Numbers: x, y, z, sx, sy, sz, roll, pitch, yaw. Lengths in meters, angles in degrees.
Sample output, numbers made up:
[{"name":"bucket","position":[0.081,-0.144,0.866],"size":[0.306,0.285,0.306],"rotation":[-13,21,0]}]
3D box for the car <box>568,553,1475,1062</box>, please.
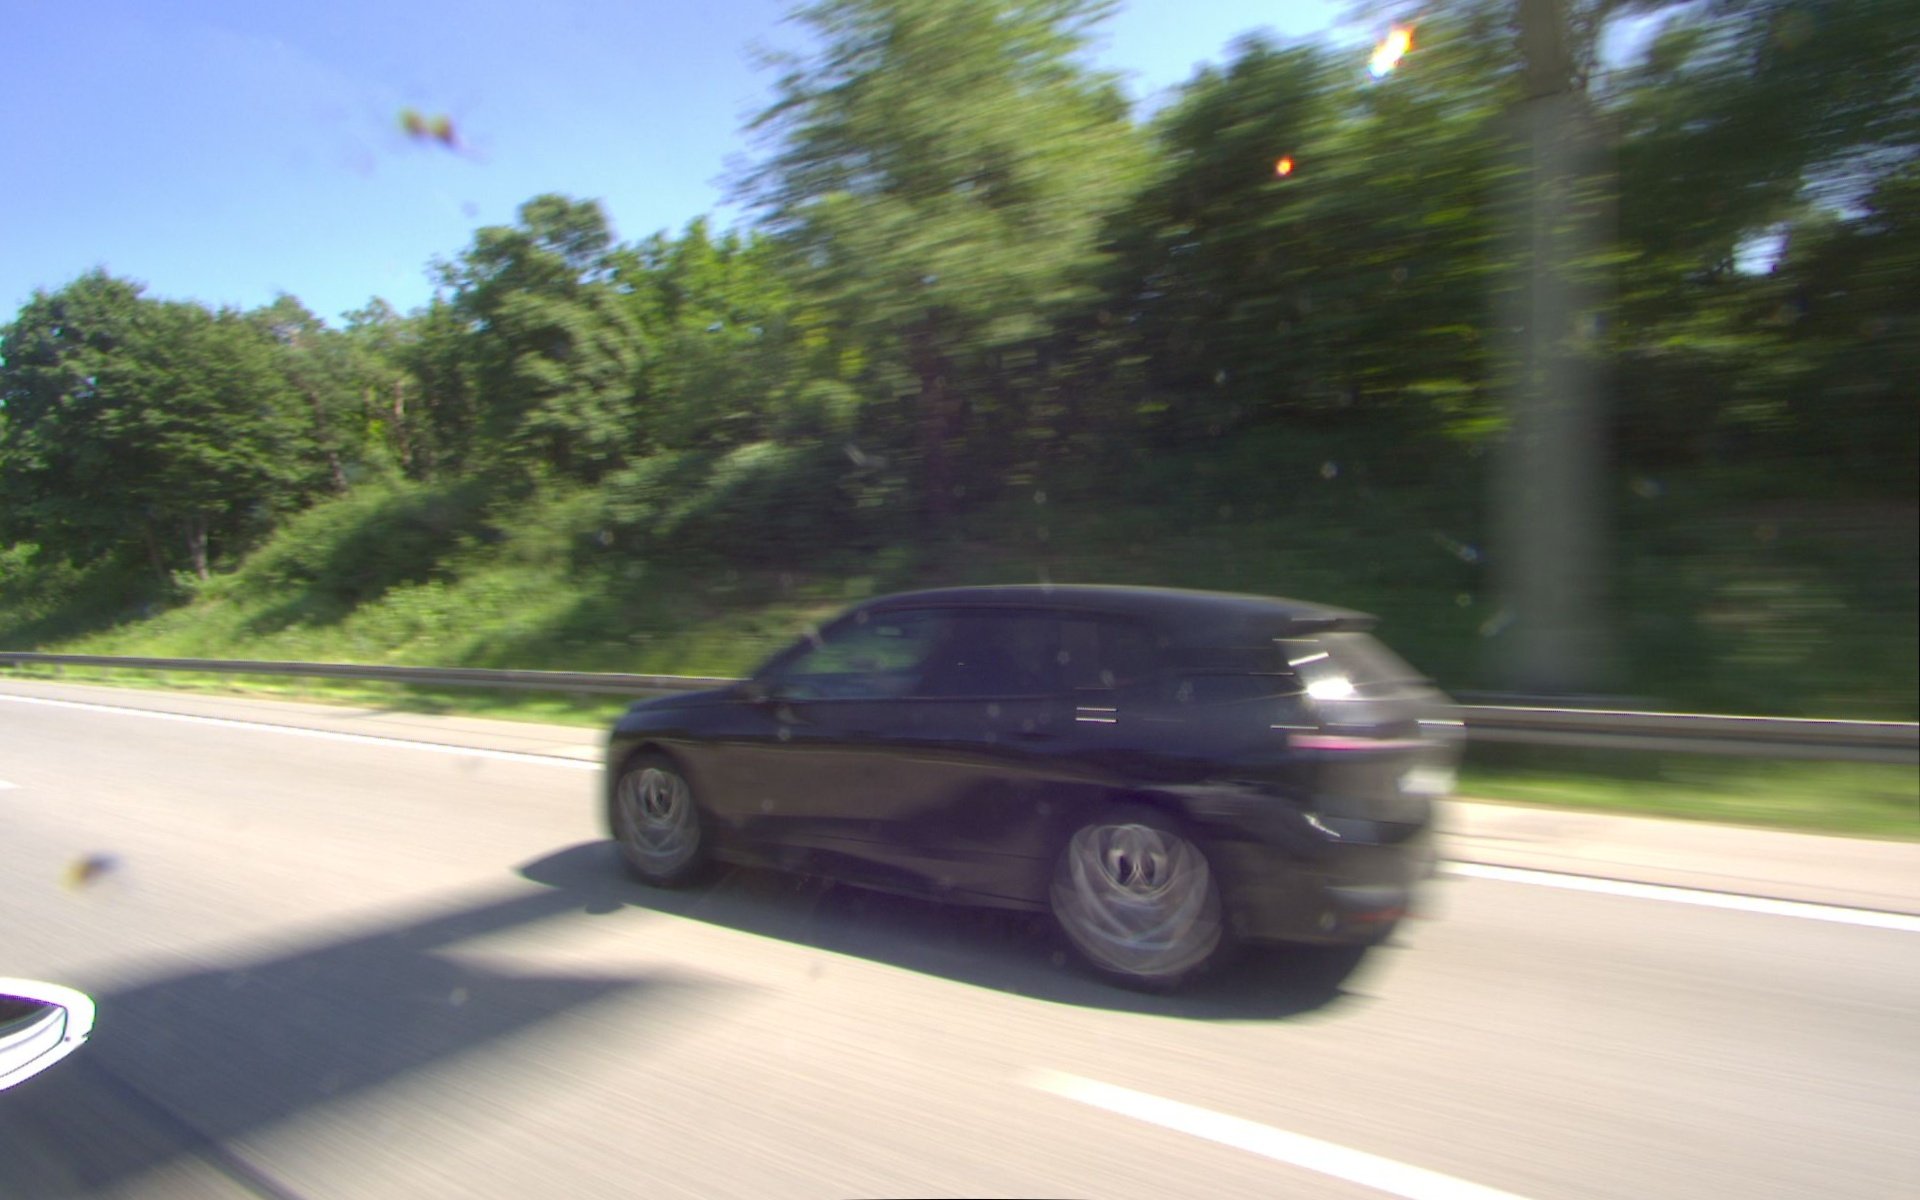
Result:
[{"name":"car","position":[0.104,0.749,5.448],"size":[4.623,1.690,1.915],"rotation":[-1,-2,35]}]
